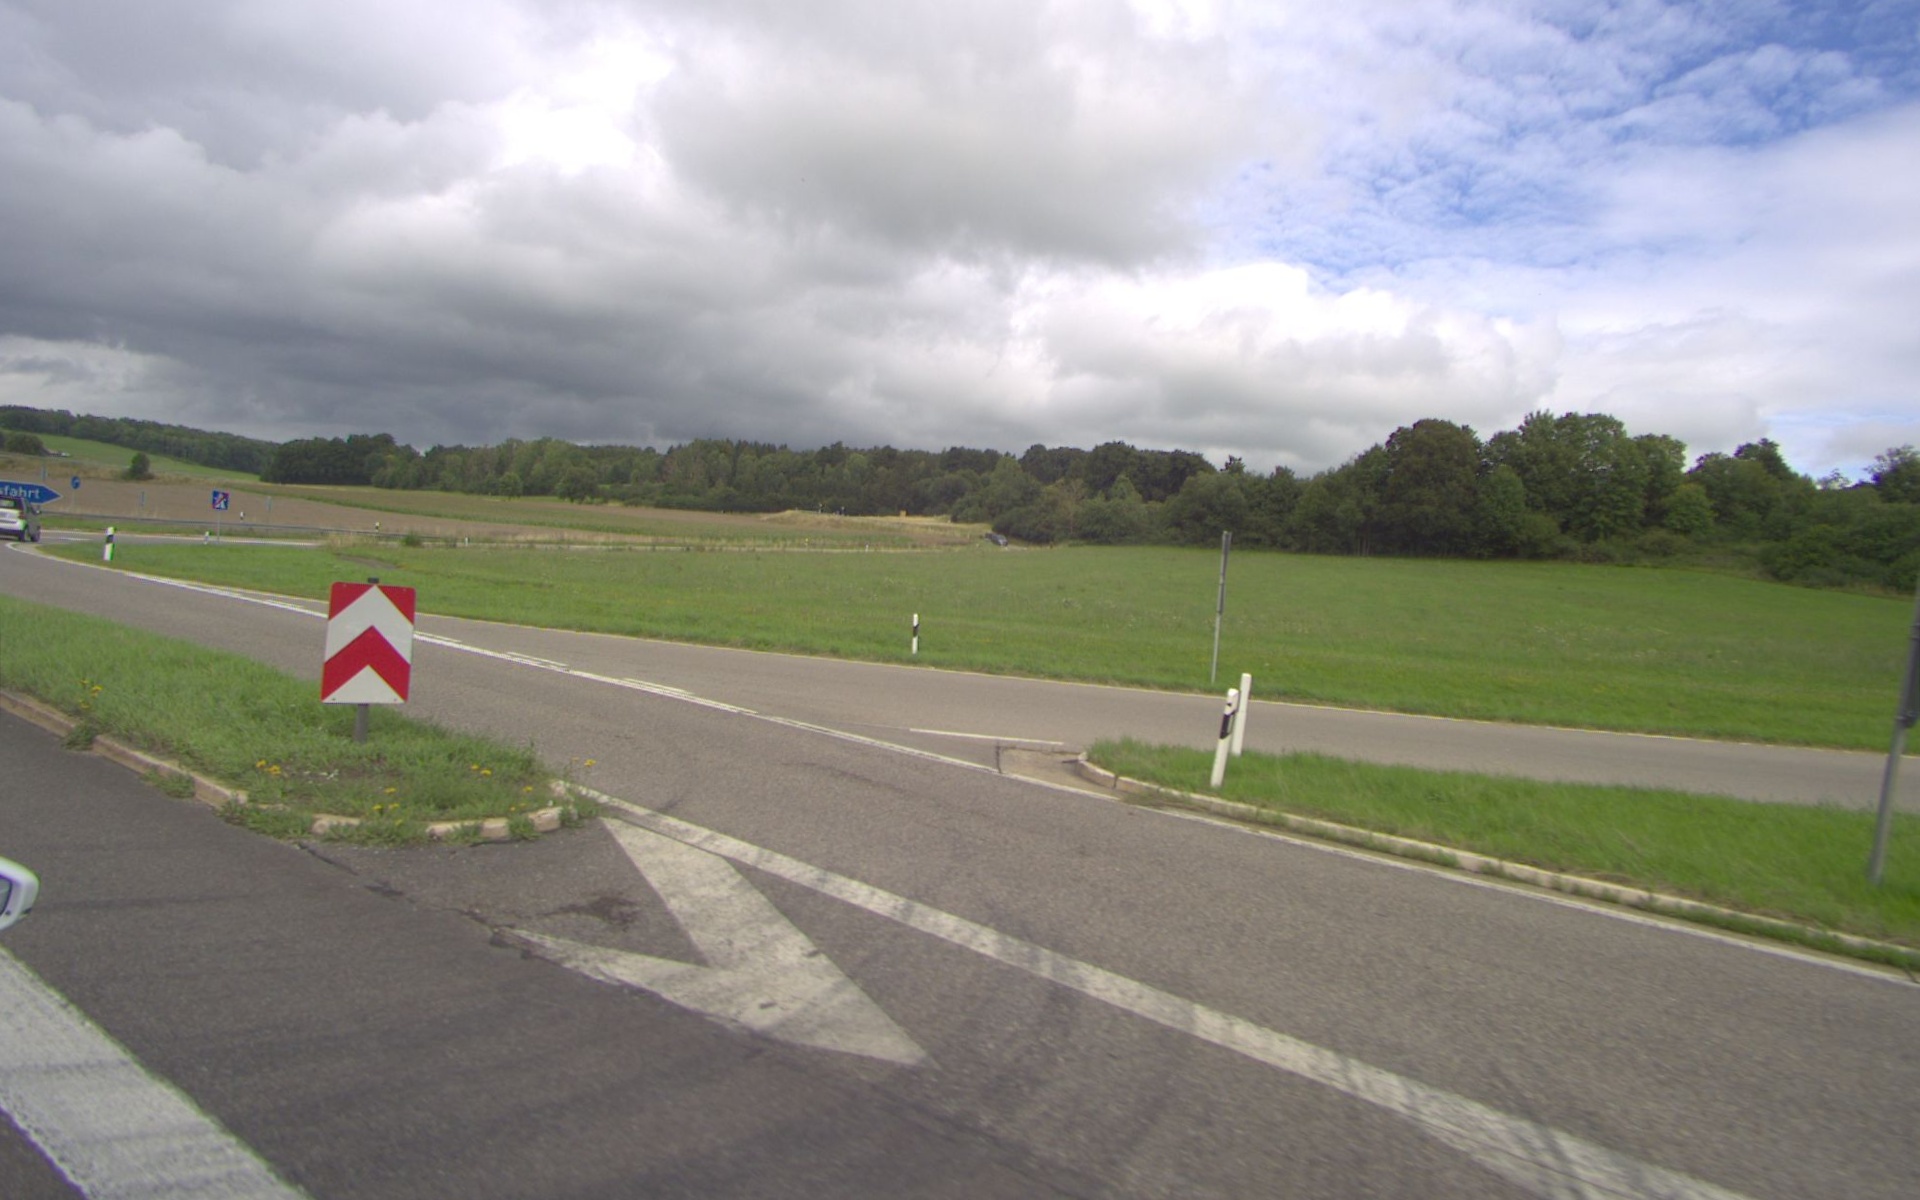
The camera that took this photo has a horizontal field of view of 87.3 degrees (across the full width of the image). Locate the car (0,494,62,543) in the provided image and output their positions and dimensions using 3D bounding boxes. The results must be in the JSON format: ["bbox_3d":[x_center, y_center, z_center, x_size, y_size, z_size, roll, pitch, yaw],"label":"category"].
[{"bbox_3d":[-34.328,-2.979,36.453,1.764,1.571,3.968,7,0,-30],"label":"car"}]
